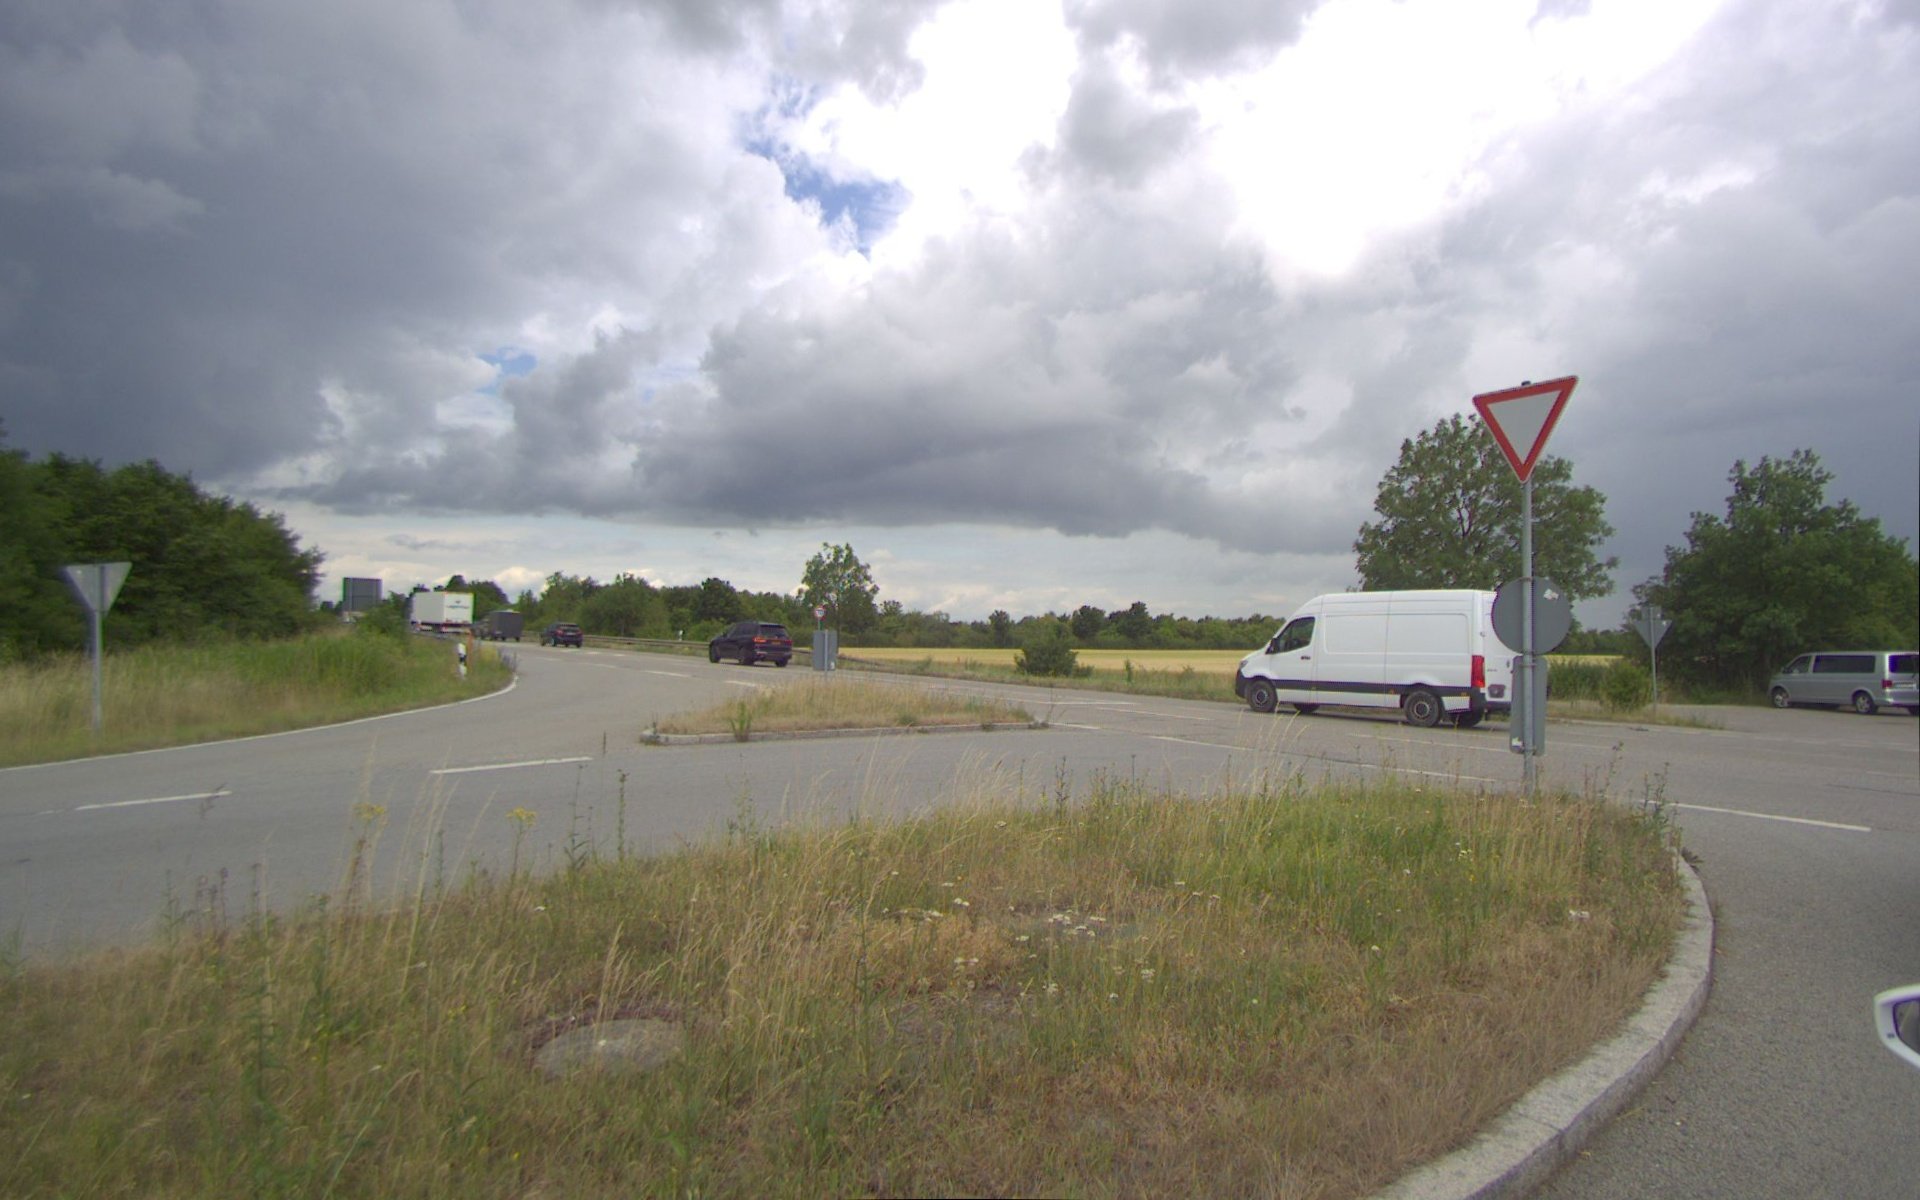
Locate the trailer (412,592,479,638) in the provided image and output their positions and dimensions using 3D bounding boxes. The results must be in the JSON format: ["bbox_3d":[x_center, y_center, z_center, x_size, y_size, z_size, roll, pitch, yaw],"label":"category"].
[{"bbox_3d":[-49.745,1.488,96.863,3.102,4.066,13.736,4,-3,-38],"label":"trailer"}]

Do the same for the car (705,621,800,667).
[{"bbox_3d":[-8.814,1.816,42.461,1.984,1.798,4.590,3,-3,-40],"label":"car"}]

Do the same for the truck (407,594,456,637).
[{"bbox_3d":[-53.685,1.616,101.951,3.102,4.066,7.228,4,-3,-38],"label":"truck"}]

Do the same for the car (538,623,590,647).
[{"bbox_3d":[-25.899,2.296,65.611,1.983,1.506,4.254,3,-3,-38],"label":"car"}]

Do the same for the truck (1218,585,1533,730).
[{"bbox_3d":[8.495,1.137,21.175,1.982,2.609,5.952,4,-3,-37],"label":"truck"}]

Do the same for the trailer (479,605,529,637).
[{"bbox_3d":[-35.339,1.639,77.783,2.398,2.322,4.346,4,-4,-39],"label":"trailer"}]

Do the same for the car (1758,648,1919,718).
[{"bbox_3d":[29.303,2.634,32.998,2.295,2.040,4.916,0,-2,1],"label":"car"}]

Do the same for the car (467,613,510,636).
[{"bbox_3d":[-38.127,2.012,81.191,1.984,1.704,4.426,4,-4,-40],"label":"car"}]
